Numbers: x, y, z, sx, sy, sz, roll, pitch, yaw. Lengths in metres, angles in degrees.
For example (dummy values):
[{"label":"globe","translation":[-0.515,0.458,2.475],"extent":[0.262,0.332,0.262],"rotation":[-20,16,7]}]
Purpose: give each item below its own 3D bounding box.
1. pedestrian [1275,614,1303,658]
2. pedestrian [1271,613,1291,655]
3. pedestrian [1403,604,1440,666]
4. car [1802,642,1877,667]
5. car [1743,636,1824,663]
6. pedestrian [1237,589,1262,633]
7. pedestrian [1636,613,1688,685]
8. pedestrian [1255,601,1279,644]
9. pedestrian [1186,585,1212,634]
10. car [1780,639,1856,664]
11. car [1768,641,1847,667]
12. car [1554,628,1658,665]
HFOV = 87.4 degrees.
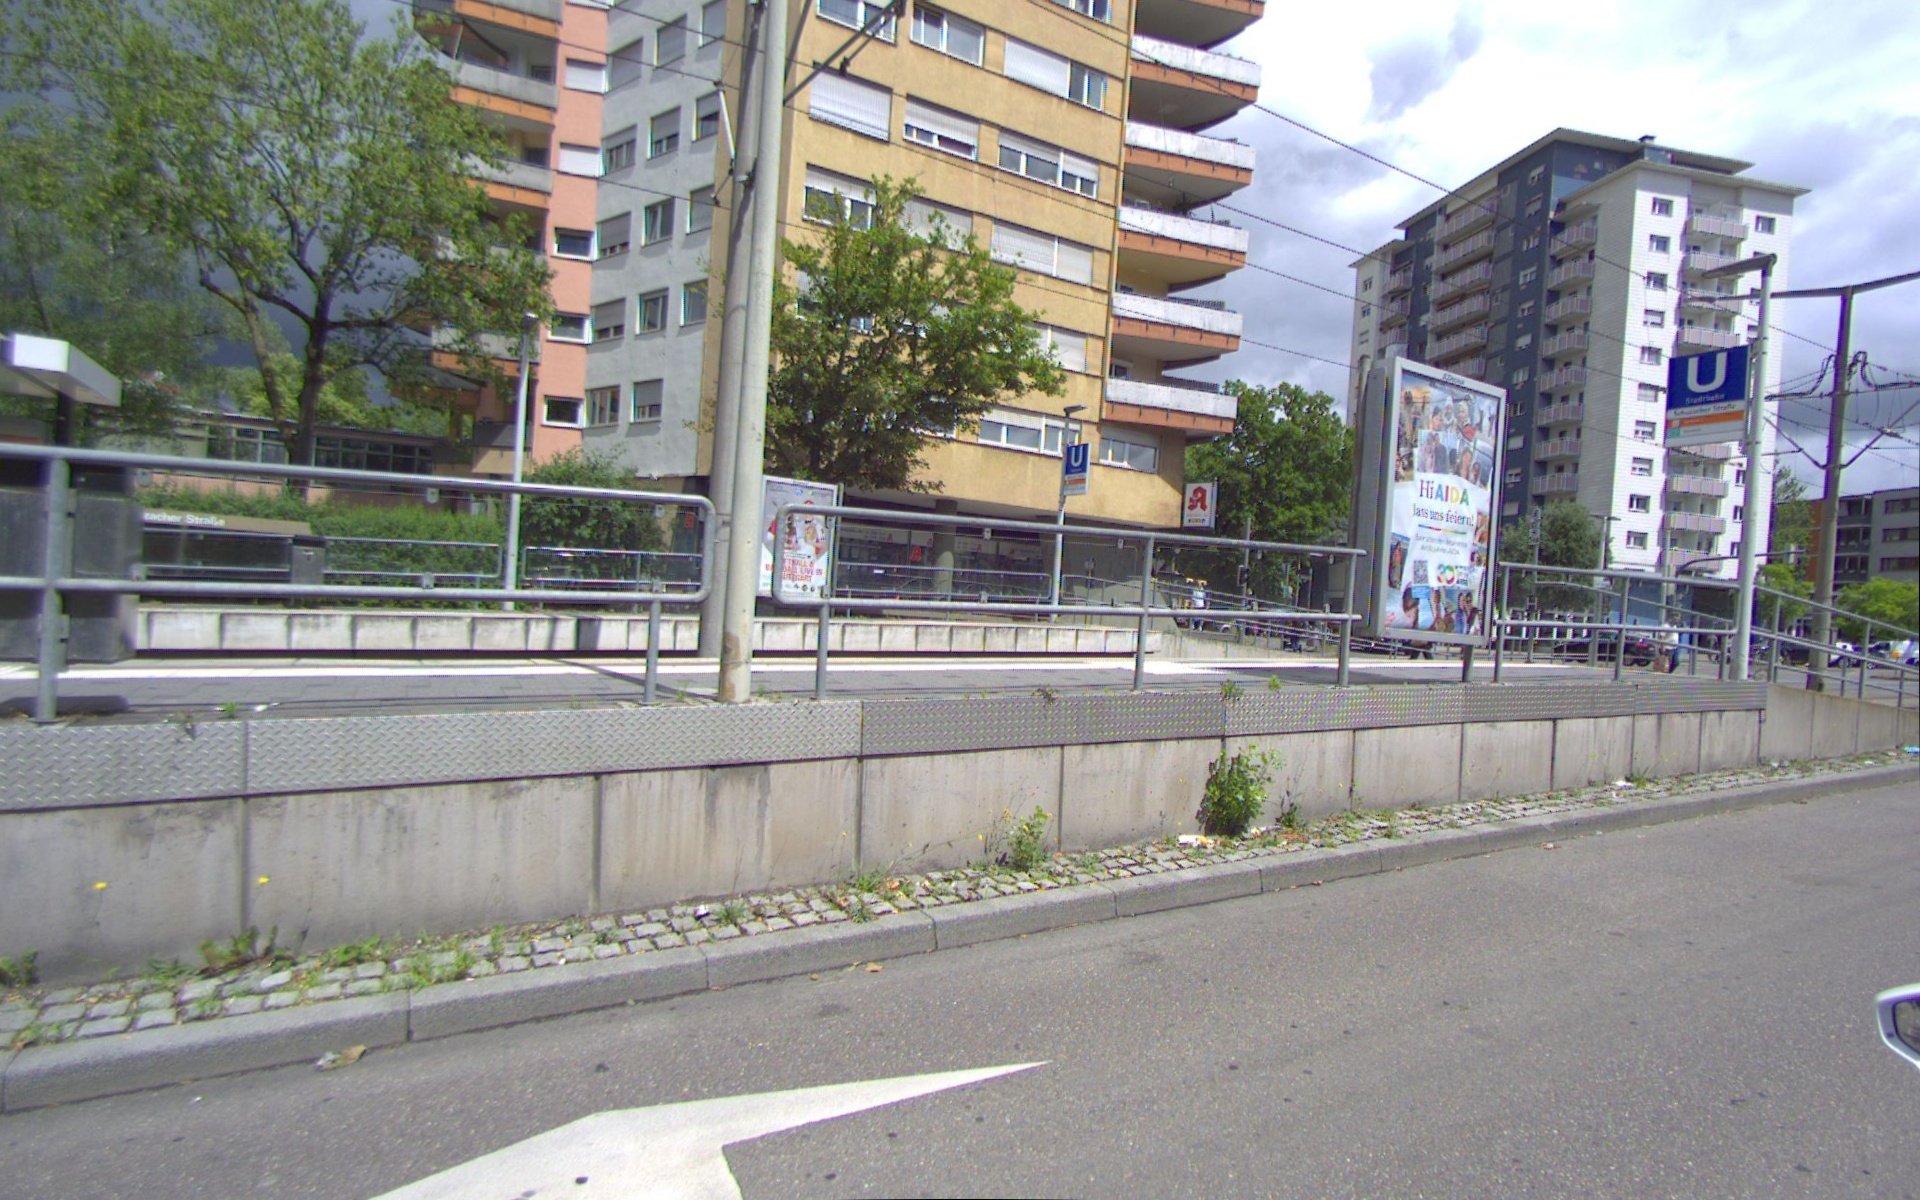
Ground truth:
[{"label":"pedestrian","translation":[10.491,1.144,32.033],"extent":[0.677,1.360,0.859],"rotation":[2,0,30]},{"label":"pedestrian","translation":[10.652,1.132,33.346],"extent":[0.543,1.360,0.669],"rotation":[2,0,12]},{"label":"pedestrian","translation":[12.680,0.958,27.595],"extent":[0.631,1.654,0.697],"rotation":[2,-1,-33]},{"label":"car","translation":[59.795,3.671,68.336],"extent":[1.602,1.482,3.576],"rotation":[2,-1,-37]},{"label":"car","translation":[50.598,3.018,61.745],"extent":[1.602,1.482,3.576],"rotation":[2,-1,-37]},{"label":"pedestrian","translation":[10.670,0.403,37.053],"extent":[0.613,1.599,0.858],"rotation":[2,0,33]},{"label":"pedestrian","translation":[17.425,1.207,24.953],"extent":[0.675,1.719,0.861],"rotation":[2,0,5]},{"label":"pedestrian","translation":[11.751,0.854,38.467],"extent":[0.759,1.604,0.610],"rotation":[2,0,12]},{"label":"pedestrian","translation":[8.589,0.349,36.122],"extent":[0.668,1.729,0.827],"rotation":[2,0,1]},{"label":"car","translation":[56.638,3.383,66.357],"extent":[1.602,1.482,3.576],"rotation":[2,-1,-37]},{"label":"car","translation":[54.165,3.438,64.238],"extent":[1.602,1.482,3.576],"rotation":[2,-1,-37]},{"label":"car","translation":[28.845,2.042,44.951],"extent":[1.602,1.482,3.576],"rotation":[2,-1,-37]}]
